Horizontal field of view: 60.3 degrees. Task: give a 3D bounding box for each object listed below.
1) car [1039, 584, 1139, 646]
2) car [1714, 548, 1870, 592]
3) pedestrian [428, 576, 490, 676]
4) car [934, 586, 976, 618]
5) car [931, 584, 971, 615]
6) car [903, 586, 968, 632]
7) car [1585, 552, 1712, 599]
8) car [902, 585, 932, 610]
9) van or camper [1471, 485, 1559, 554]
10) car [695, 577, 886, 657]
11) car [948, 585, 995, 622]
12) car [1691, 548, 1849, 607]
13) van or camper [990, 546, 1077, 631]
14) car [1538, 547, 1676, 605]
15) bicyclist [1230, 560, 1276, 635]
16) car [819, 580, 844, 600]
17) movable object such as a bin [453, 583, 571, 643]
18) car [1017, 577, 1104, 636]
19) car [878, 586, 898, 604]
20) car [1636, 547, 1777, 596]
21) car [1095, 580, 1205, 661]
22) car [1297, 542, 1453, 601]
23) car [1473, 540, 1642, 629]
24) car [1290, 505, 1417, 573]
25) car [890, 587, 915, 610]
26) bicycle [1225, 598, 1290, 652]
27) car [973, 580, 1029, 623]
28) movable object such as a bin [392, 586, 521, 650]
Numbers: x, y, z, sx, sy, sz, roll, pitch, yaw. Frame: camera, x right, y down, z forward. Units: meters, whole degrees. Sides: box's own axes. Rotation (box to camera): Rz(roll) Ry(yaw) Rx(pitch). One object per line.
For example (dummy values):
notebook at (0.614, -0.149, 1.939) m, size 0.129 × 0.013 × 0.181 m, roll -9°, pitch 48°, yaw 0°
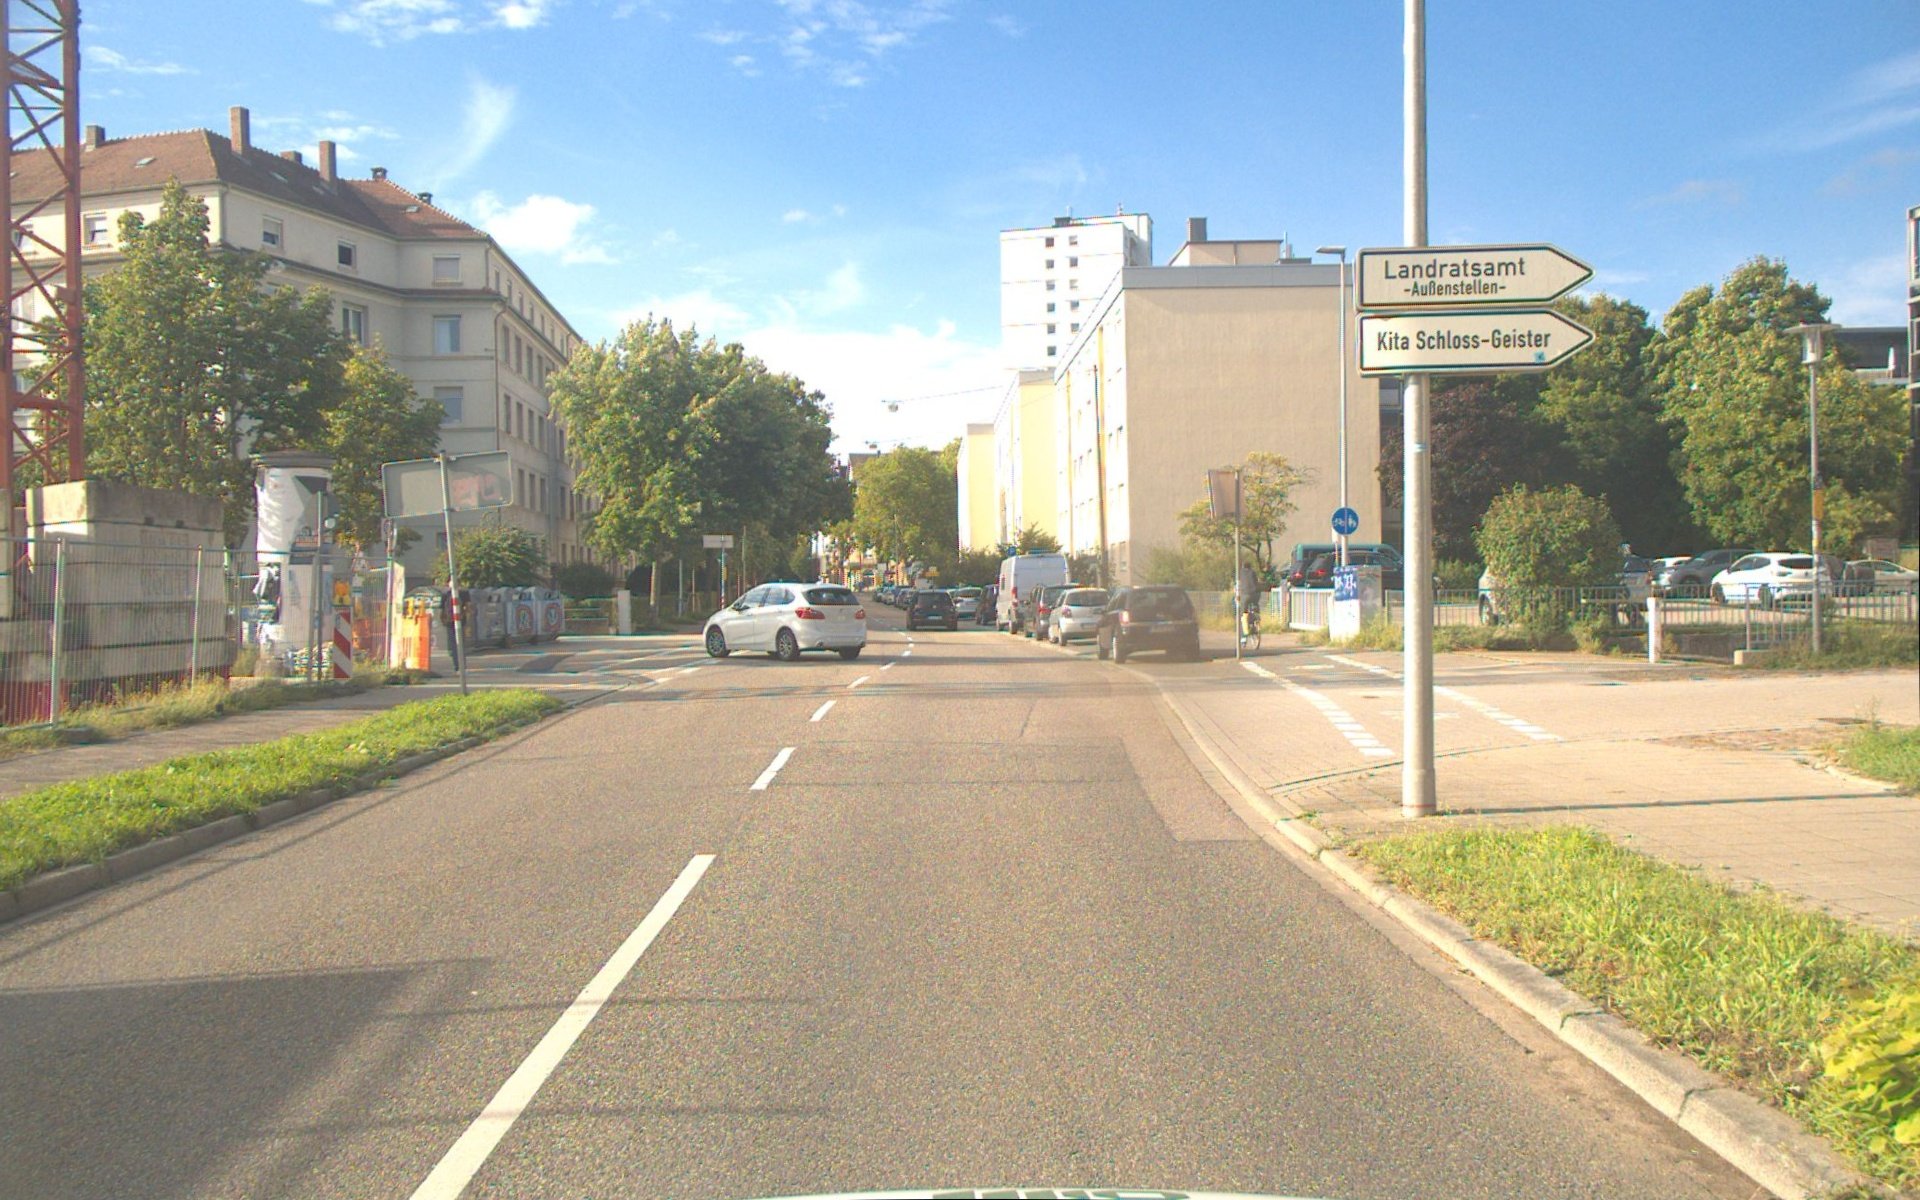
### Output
car at (3.414, 0.396, 44.749) m, size 1.976 × 1.500 × 4.798 m, roll -3°, pitch 0°, yaw -4°
car at (26.071, -0.927, 51.920) m, size 3.903 × 1.333 × 2.001 m, roll 0°, pitch 0°, yaw 3°
pedestrian at (-9.073, 0.468, 29.974) m, size 0.990 × 1.758 × 1.174 m, roll -1°, pitch -1°, yaw -14°
car at (-0.280, 0.089, 85.719) m, size 1.954 × 1.556 × 3.998 m, roll -2°, pitch 1°, yaw -3°
car at (-0.503, -0.048, 89.964) m, size 1.954 × 1.601 × 3.998 m, roll -2°, pitch 1°, yaw -3°
car at (-0.931, 0.290, 60.017) m, size 1.955 × 1.598 × 3.994 m, roll -1°, pitch 0°, yaw -7°
car at (25.761, -0.923, 61.982) m, size 3.907 × 1.579 × 1.999 m, roll -2°, pitch 0°, yaw -3°
car at (-3.008, -0.194, 115.049) m, size 1.954 × 1.601 × 3.998 m, roll -2°, pitch 1°, yaw -3°
van or camper at (26.260, -3.765, 78.473) m, size 2.282 × 2.924 × 5.122 m, roll -5°, pitch 0°, yaw 1°
car at (-3.640, 0.348, 34.930) m, size 1.982 × 1.582 × 4.209 m, roll 0°, pitch 0°, yaw -41°
car at (0.496, 0.141, 77.501) m, size 1.954 × 1.601 × 3.998 m, roll -2°, pitch 1°, yaw -3°
car at (22.174, -0.602, 45.469) m, size 1.957 × 1.467 × 3.992 m, roll -2°, pitch 1°, yaw -9°
van or camper at (2.428, -0.397, 56.170) m, size 2.167 × 2.652 × 5.365 m, roll -2°, pitch 1°, yaw -6°
car at (17.692, -0.642, 45.416) m, size 1.954 × 1.467 × 3.996 m, roll -2°, pitch 1°, yaw -4°
bicyclist at (6.222, -0.053, 35.171) m, size 0.722 × 1.540 × 0.874 m, roll -4°, pitch 0°, yaw -2°
car at (-11.845, -0.922, 151.970) m, size 2.017 × 1.692 × 3.919 m, roll -2°, pitch 1°, yaw -8°
movable object such as a bin at (-13.175, 0.382, 48.662) m, size 3.037 × 1.737 × 1.411 m, roll 0°, pitch 0°, yaw 12°
car at (2.989, 0.161, 50.155) m, size 1.955 × 1.644 × 4.403 m, roll -2°, pitch 1°, yaw -5°
car at (-7.127, -0.485, 164.205) m, size 1.953 × 1.786 × 3.999 m, roll 0°, pitch 0°, yaw -1°
car at (25.602, -0.976, 56.812) m, size 3.907 × 1.512 × 1.999 m, roll -2°, pitch 1°, yaw -3°
car at (3.795, 0.390, 33.612) m, size 1.682 × 1.522 × 4.267 m, roll 0°, pitch 0°, yaw -1°
car at (12.923, -0.877, 51.689) m, size 4.356 × 1.650 × 2.001 m, roll -2°, pitch 0°, yaw 2°
car at (12.469, -0.322, 34.803) m, size 1.953 × 1.694 × 4.151 m, roll -2°, pitch 1°, yaw -1°
car at (14.017, -2.165, 59.120) m, size 4.034 × 2.224 × 2.001 m, roll -2°, pitch 0°, yaw 1°
car at (-4.654, -0.153, 133.488) m, size 1.954 × 1.713 × 3.998 m, roll -2°, pitch 1°, yaw -3°
bicycle at (6.256, 0.505, 34.938) m, size 0.725 × 1.052 × 2.761 m, roll -4°, pitch 0°, yaw -2°
car at (1.623, 0.041, 67.076) m, size 1.954 × 1.601 × 3.998 m, roll -2°, pitch 1°, yaw -3°
movable object such as a bin at (-13.936, 0.488, 45.818) m, size 3.037 × 1.737 × 1.549 m, roll 0°, pitch 0°, yaw 13°
